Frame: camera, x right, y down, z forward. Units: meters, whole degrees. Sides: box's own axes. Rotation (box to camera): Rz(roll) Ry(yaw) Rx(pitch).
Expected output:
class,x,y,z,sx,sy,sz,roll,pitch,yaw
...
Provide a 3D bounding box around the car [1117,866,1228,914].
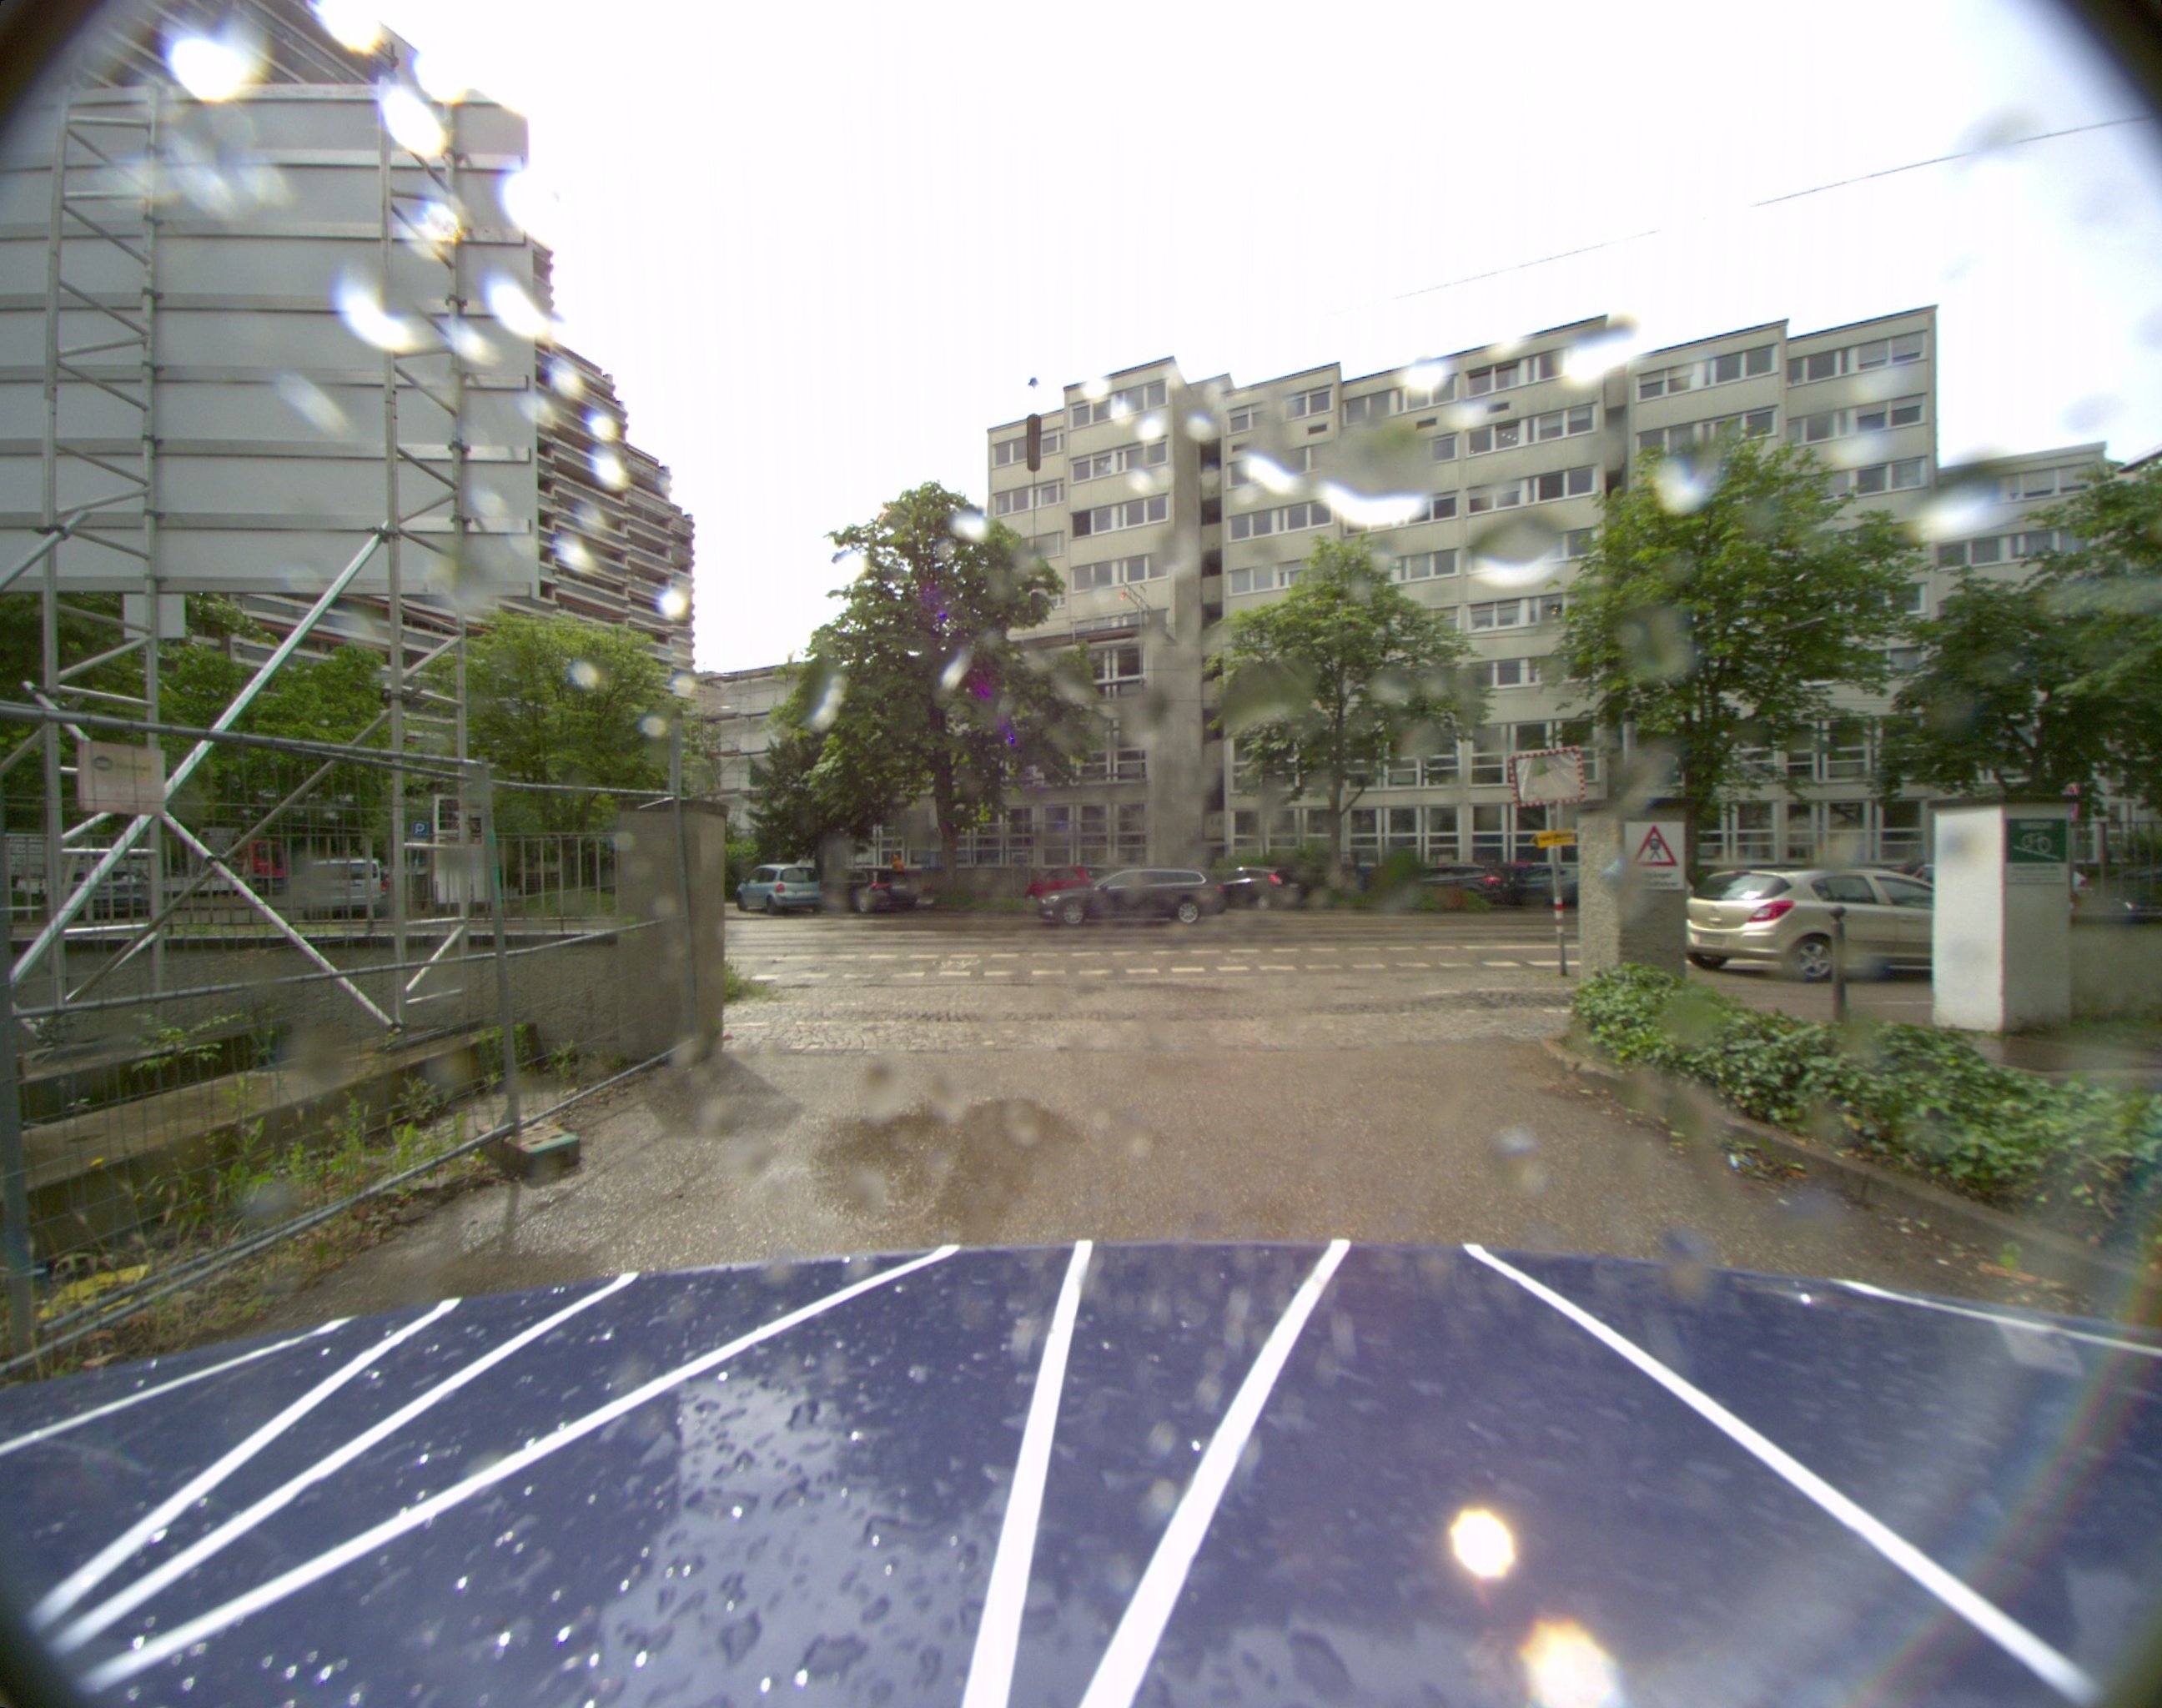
class,x,y,z,sx,sy,sz,roll,pitch,yaw
car,3.030,1.155,25.647,1.714,1.443,3.398,0,0,-43

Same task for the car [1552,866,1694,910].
class,x,y,z,sx,sy,sz,roll,pitch,yaw
car,19.200,1.206,27.000,3.871,1.444,1.782,-3,-3,43

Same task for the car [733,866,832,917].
class,x,y,z,sx,sy,sz,roll,pitch,yaw
car,-9.907,1.166,25.112,3.639,1.542,1.712,-1,0,45

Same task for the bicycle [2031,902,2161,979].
class,x,y,z,sx,sy,sz,roll,pitch,yaw
bicycle,14.520,1.160,10.322,0.684,0.980,1.928,-1,-3,-3

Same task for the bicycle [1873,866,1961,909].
class,x,y,z,sx,sy,sz,roll,pitch,yaw
bicycle,25.820,1.035,23.477,1.866,1.258,0.646,-2,-1,4

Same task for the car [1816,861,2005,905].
class,x,y,z,sx,sy,sz,roll,pitch,yaw
car,29.268,1.038,27.053,4.383,1.443,1.889,-3,-2,44

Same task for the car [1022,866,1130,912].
class,x,y,z,sx,sy,sz,roll,pitch,yaw
car,-0.208,1.143,25.984,3.398,1.460,1.746,-1,-2,44

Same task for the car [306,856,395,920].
class,x,y,z,sx,sy,sz,roll,pitch,yaw
car,-23.849,1.028,24.774,4.632,1.885,1.942,-1,-1,45

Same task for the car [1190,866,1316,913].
class,x,y,z,sx,sy,sz,roll,pitch,yaw
car,5.873,1.203,26.291,1.820,1.472,3.968,0,-1,-40

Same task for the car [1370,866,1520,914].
class,x,y,z,sx,sy,sz,roll,pitch,yaw
car,12.665,1.254,26.595,4.359,1.545,1.883,-3,-3,42

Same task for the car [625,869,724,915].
class,x,y,z,sx,sy,sz,roll,pitch,yaw
car,-13.698,1.222,25.509,3.639,1.389,1.773,-1,0,42

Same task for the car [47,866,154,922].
class,x,y,z,sx,sy,sz,roll,pitch,yaw
car,-31.572,1.226,24.577,4.034,1.556,1.789,1,1,43

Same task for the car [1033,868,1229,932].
class,x,y,z,sx,sy,sz,roll,pitch,yaw
car,1.183,1.141,19.421,4.761,1.471,2.000,-1,-2,-3

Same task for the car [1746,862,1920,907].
class,x,y,z,sx,sy,sz,roll,pitch,yaw
car,26.337,1.089,26.798,4.195,1.443,1.818,-3,-2,44

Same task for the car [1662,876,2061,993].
class,x,y,z,sx,sy,sz,roll,pitch,yaw
car,10.571,1.045,10.488,3.831,1.450,1.690,0,-2,-2

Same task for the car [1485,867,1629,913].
class,x,y,z,sx,sy,sz,roll,pitch,yaw
car,16.268,1.226,26.082,3.871,1.444,1.827,-3,-3,43

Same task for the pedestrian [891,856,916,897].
class,x,y,z,sx,sy,sz,roll,pitch,yaw
pedestrian,-7.711,0.978,32.989,0.709,1.732,0.837,0,-2,-43

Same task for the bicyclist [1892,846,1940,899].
class,x,y,z,sx,sy,sz,roll,pitch,yaw
bicyclist,25.800,0.570,23.490,0.673,1.607,0.646,-1,-1,4

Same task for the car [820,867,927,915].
class,x,y,z,sx,sy,sz,roll,pitch,yaw
car,-6.905,1.167,25.121,3.639,1.461,1.745,-1,0,44

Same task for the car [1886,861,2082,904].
class,x,y,z,sx,sy,sz,roll,pitch,yaw
car,32.381,1.039,27.496,4.360,1.443,1.910,-3,-2,44

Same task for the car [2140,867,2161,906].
class,x,y,z,sx,sy,sz,roll,pitch,yaw
car,42.459,1.149,27.660,1.910,1.443,4.430,0,-2,-39
